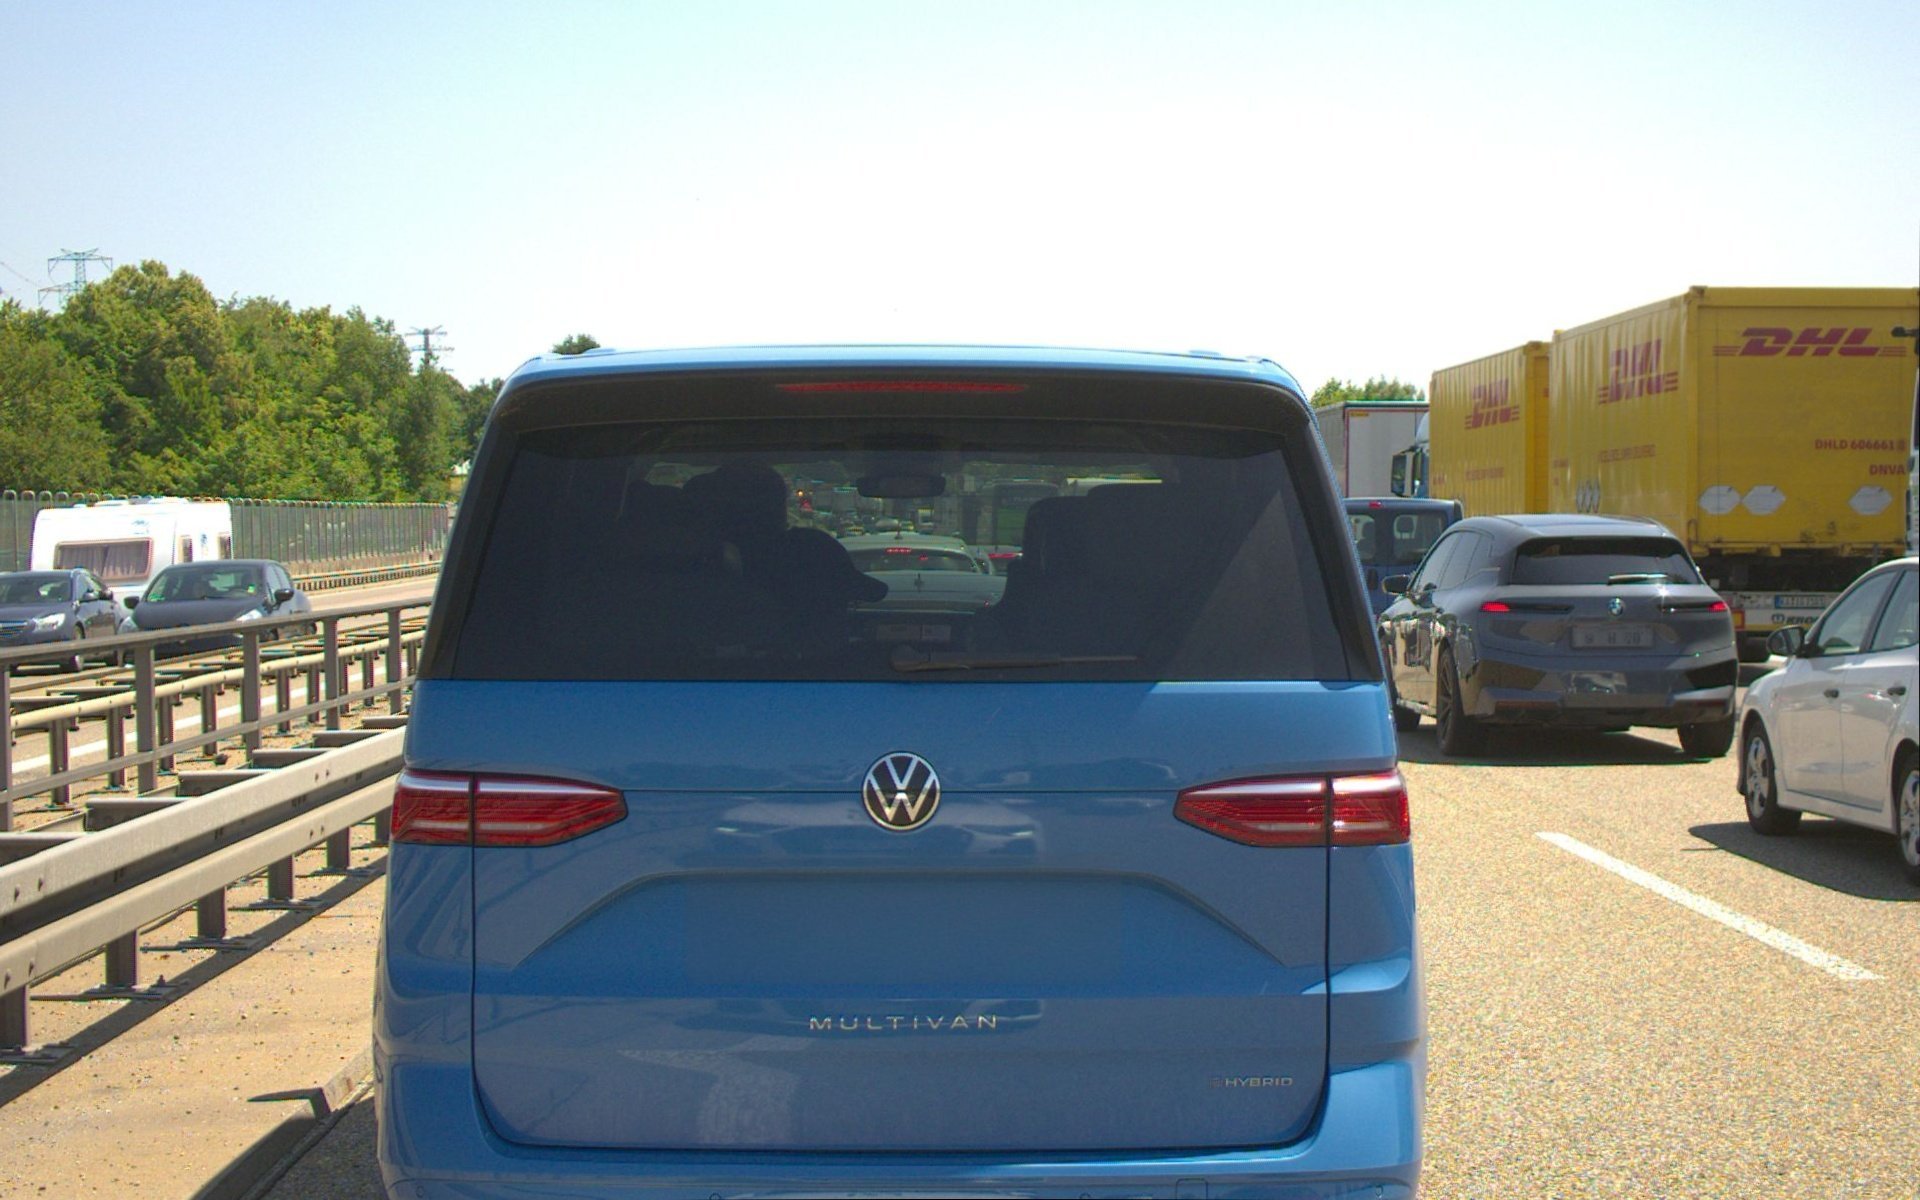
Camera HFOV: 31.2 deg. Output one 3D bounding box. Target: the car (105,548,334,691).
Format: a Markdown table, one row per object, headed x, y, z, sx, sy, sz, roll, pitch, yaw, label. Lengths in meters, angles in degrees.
| x | y | z | sx | sy | sz | roll | pitch | yaw | label |
| --- | --- | --- | --- | --- | --- | --- | --- | --- | --- |
| -8.504 | 0.189 | 39.796 | 1.668 | 1.443 | 4.000 | -3 | 1 | 1 | car |

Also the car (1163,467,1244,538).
| x | y | z | sx | sy | sz | roll | pitch | yaw | label |
| --- | --- | --- | --- | --- | --- | --- | --- | --- | --- |
| 7.119 | -2.854 | 100.990 | 1.993 | 2.007 | 4.461 | -1 | 1 | 0 | car |

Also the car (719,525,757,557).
| x | y | z | sx | sy | sz | roll | pitch | yaw | label |
| --- | --- | --- | --- | --- | --- | --- | --- | --- | --- |
| -12.585 | -3.355 | 195.035 | 1.867 | 1.694 | 4.431 | -3 | 1 | -1 | car |

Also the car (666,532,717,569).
| x | y | z | sx | sy | sz | roll | pitch | yaw | label |
| --- | --- | --- | --- | --- | --- | --- | --- | --- | --- |
| -11.990 | -2.225 | 153.479 | 1.867 | 1.526 | 4.425 | -4 | 1 | 0 | car |

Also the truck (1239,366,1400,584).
| x | y | z | sx | sy | sz | roll | pitch | yaw | label |
| --- | --- | --- | --- | --- | --- | --- | --- | --- | --- |
| 7.672 | -2.622 | 74.206 | 2.667 | 4.469 | 6.850 | 1 | 1 | 0 | truck |

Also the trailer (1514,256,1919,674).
| x | y | z | sx | sy | sz | roll | pitch | yaw | label |
| --- | --- | --- | --- | --- | --- | --- | --- | --- | --- |
| 8.601 | -1.430 | 39.476 | 2.864 | 4.224 | 9.012 | 1 | 1 | -1 | trailer |

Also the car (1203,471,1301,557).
| x | y | z | sx | sy | sz | roll | pitch | yaw | label |
| --- | --- | --- | --- | --- | --- | --- | --- | --- | --- |
| 7.103 | -2.073 | 83.853 | 1.993 | 2.007 | 4.000 | 1 | 1 | -1 | car |

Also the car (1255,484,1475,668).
| x | y | z | sx | sy | sz | roll | pitch | yaw | label |
| --- | --- | --- | --- | --- | --- | --- | --- | --- | --- |
| 4.572 | -0.302 | 39.402 | 1.962 | 1.986 | 4.293 | 0 | 1 | -1 | car |

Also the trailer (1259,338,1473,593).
| x | y | z | sx | sy | sz | roll | pitch | yaw | label |
| --- | --- | --- | --- | --- | --- | --- | --- | --- | --- |
| 7.724 | -2.513 | 66.913 | 2.637 | 4.501 | 11.302 | 1 | 1 | -1 | trailer |

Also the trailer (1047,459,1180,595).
| x | y | z | sx | sy | sz | roll | pitch | yaw | label |
| --- | --- | --- | --- | --- | --- | --- | --- | --- | --- |
| 3.519 | -1.685 | 81.118 | 2.569 | 2.980 | 10.663 | 1 | 1 | 0 | trailer |

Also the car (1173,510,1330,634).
| x | y | z | sx | sy | sz | roll | pitch | yaw | label |
| --- | --- | --- | --- | --- | --- | --- | --- | --- | --- |
| 4.368 | -0.445 | 52.061 | 1.993 | 1.809 | 4.000 | 0 | 1 | -1 | car |

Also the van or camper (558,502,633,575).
| x | y | z | sx | sy | sz | roll | pitch | yaw | label |
| --- | --- | --- | --- | --- | --- | --- | --- | --- | --- |
| -15.760 | -2.677 | 148.836 | 2.422 | 3.013 | 7.027 | -2 | 1 | 0 | van or camper |

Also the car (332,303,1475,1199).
| x | y | z | sx | sy | sz | roll | pitch | yaw | label |
| --- | --- | --- | --- | --- | --- | --- | --- | --- | --- |
| -0.112 | 0.427 | 7.560 | 1.820 | 1.851 | 4.075 | 1 | 1 | -1 | car |

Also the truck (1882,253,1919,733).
| x | y | z | sx | sy | sz | roll | pitch | yaw | label |
| --- | --- | --- | --- | --- | --- | --- | --- | --- | --- |
| 8.693 | -0.724 | 21.574 | 2.656 | 3.635 | 11.012 | 0 | 1 | -1 | truck |

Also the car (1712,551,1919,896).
| x | y | z | sx | sy | sz | roll | pitch | yaw | label |
| --- | --- | --- | --- | --- | --- | --- | --- | --- | --- |
| 4.982 | 0.506 | 16.431 | 1.788 | 1.450 | 4.293 | 0 | 1 | -1 | car |

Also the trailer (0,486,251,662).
| x | y | z | sx | sy | sz | roll | pitch | yaw | label |
| --- | --- | --- | --- | --- | --- | --- | --- | --- | --- |
| -13.231 | -0.455 | 54.604 | 2.493 | 2.540 | 6.774 | -2 | 1 | 0 | trailer |

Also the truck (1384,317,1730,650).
| x | y | z | sx | sy | sz | roll | pitch | yaw | label |
| --- | --- | --- | --- | --- | --- | --- | --- | --- | --- |
| 8.327 | -1.584 | 49.539 | 2.836 | 4.228 | 11.011 | 1 | 1 | -1 | truck |

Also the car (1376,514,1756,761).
| x | y | z | sx | sy | sz | roll | pitch | yaw | label |
| --- | --- | --- | --- | --- | --- | --- | --- | --- | --- |
| 4.303 | 0.209 | 25.065 | 1.962 | 1.639 | 4.293 | 0 | 1 | -1 | car |

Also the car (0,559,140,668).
| x | y | z | sx | sy | sz | roll | pitch | yaw | label |
| --- | --- | --- | --- | --- | --- | --- | --- | --- | --- |
| -13.111 | 0.179 | 48.865 | 1.775 | 1.403 | 4.683 | -2 | 1 | -1 | car |
